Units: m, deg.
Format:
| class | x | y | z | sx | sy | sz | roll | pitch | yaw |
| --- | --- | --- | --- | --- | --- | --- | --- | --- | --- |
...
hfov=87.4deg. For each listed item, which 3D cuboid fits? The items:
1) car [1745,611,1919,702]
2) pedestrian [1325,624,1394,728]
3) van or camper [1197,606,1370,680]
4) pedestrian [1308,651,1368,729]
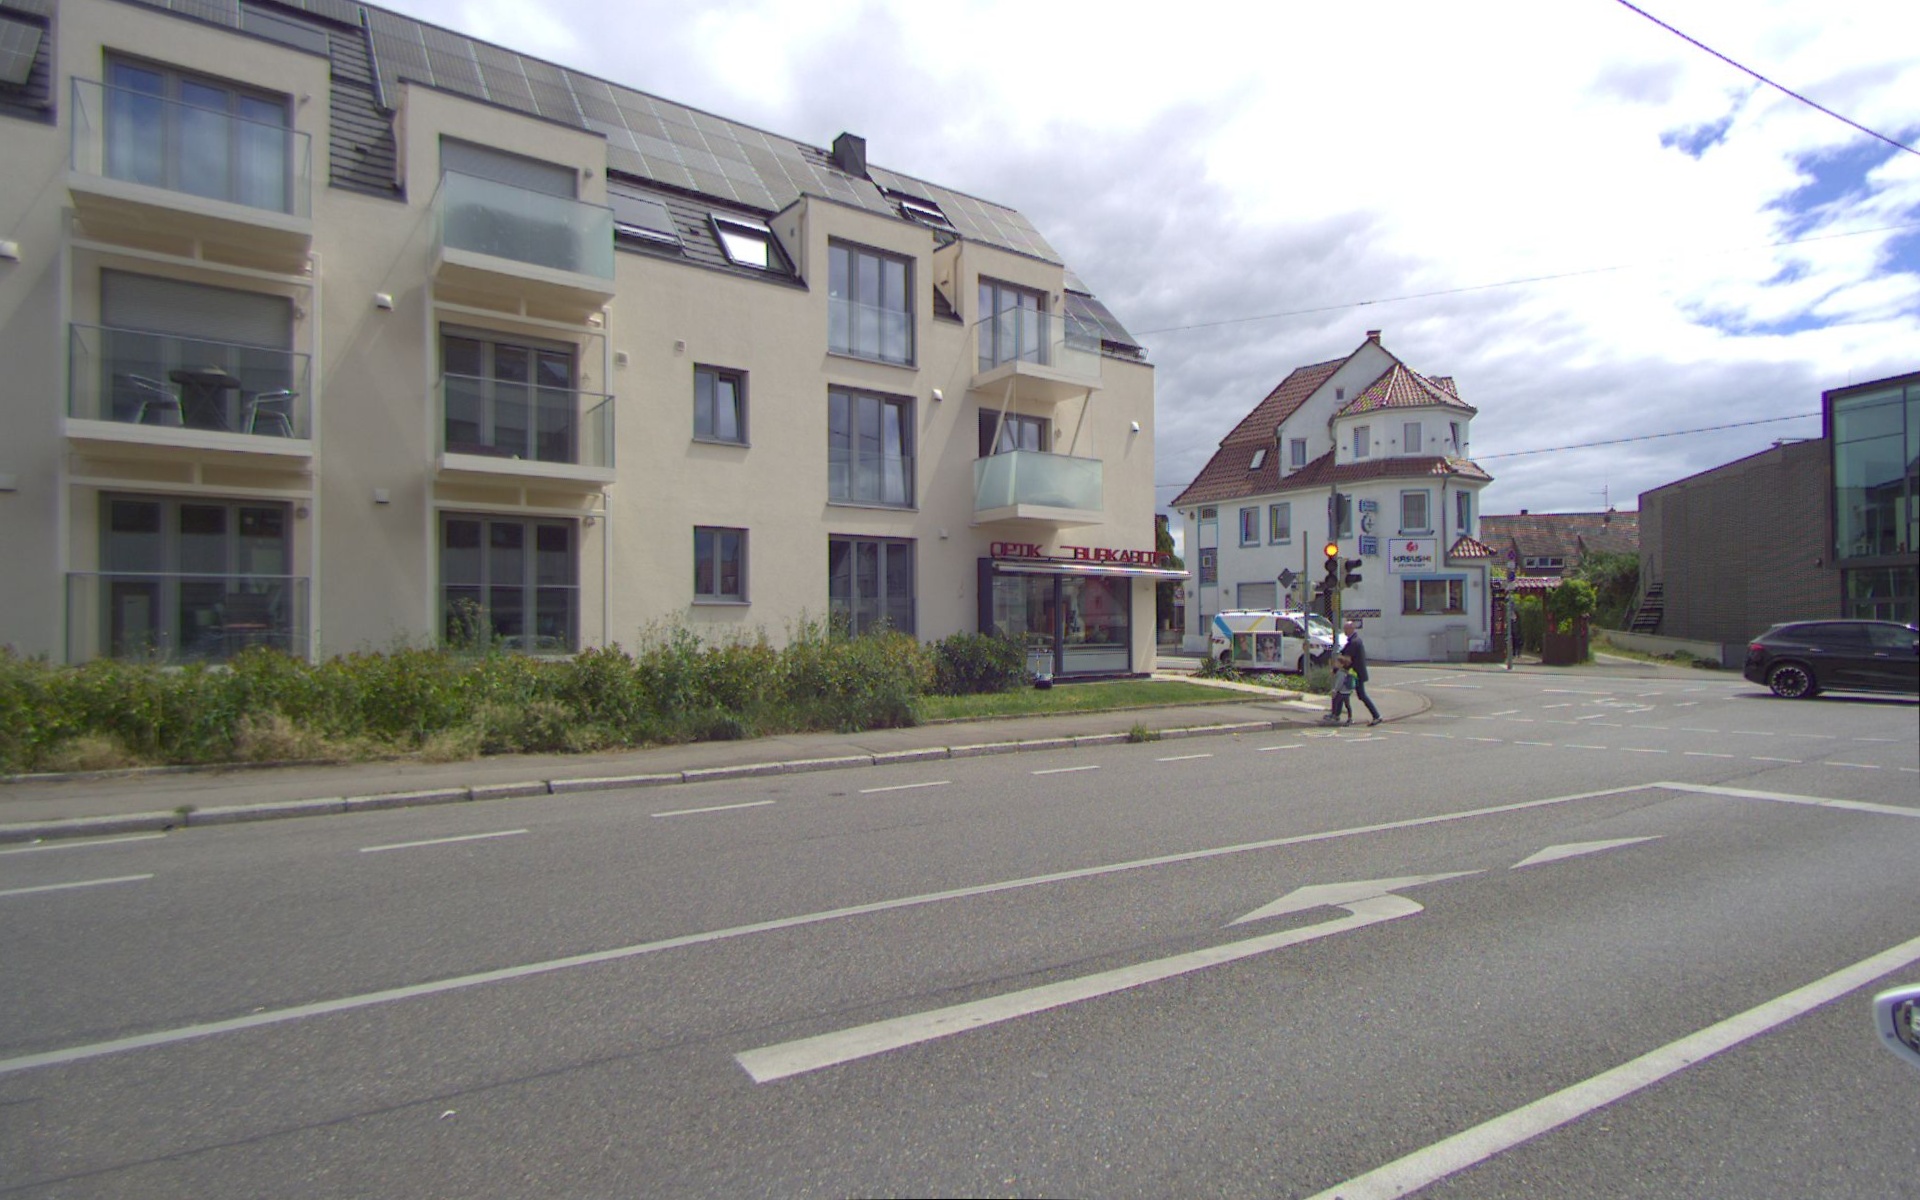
| class | x | y | z | sx | sy | sz | roll | pitch | yaw |
| --- | --- | --- | --- | --- | --- | --- | --- | --- | --- |
| car | 19.251 | 1.129 | 20.726 | 1.982 | 1.766 | 4.466 | -1 | -1 | -38 |
| pedestrian | 6.906 | 1.284 | 17.380 | 0.810 | 1.744 | 0.816 | 1 | -1 | -38 |
| van or camper | 10.388 | 1.322 | 32.643 | 1.983 | 2.105 | 5.077 | 1 | 0 | -38 |
| pedestrian | 6.349 | 1.493 | 16.878 | 0.640 | 1.238 | 0.728 | 1 | -1 | -38 |
